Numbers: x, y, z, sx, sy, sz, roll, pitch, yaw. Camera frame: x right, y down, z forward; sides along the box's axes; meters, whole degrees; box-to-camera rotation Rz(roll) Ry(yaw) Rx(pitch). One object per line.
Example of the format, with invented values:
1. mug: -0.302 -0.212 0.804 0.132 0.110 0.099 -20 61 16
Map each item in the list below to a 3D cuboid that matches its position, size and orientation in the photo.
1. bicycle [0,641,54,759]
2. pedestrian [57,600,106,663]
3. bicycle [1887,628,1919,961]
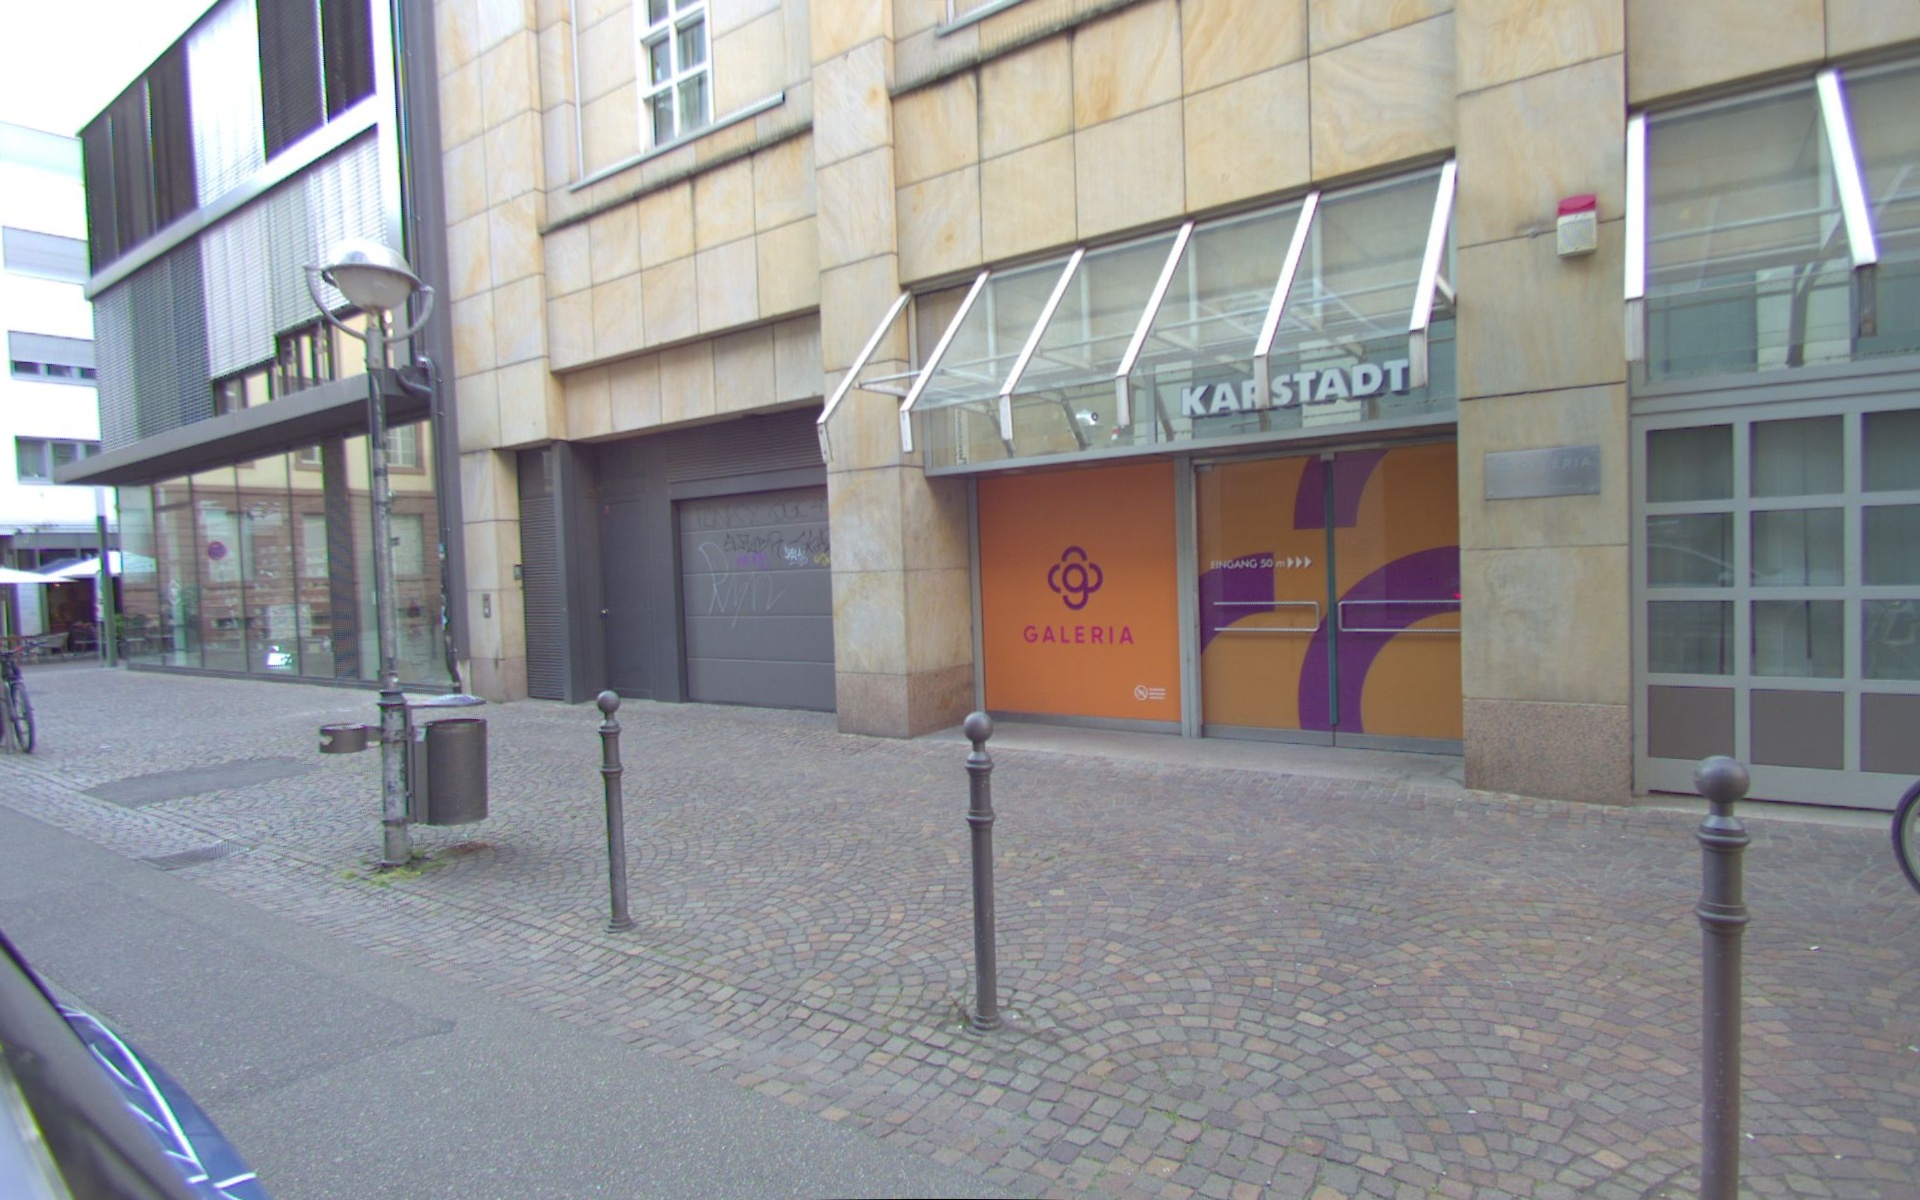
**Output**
1. bicycle: -10.252 1.023 10.719 1.924 1.141 0.407 -1 2 32
2. pedestrian: -23.709 0.843 27.311 0.789 1.661 0.718 -2 1 30
3. bicycle: 4.108 0.678 3.108 0.685 1.120 1.779 -3 1 -40
